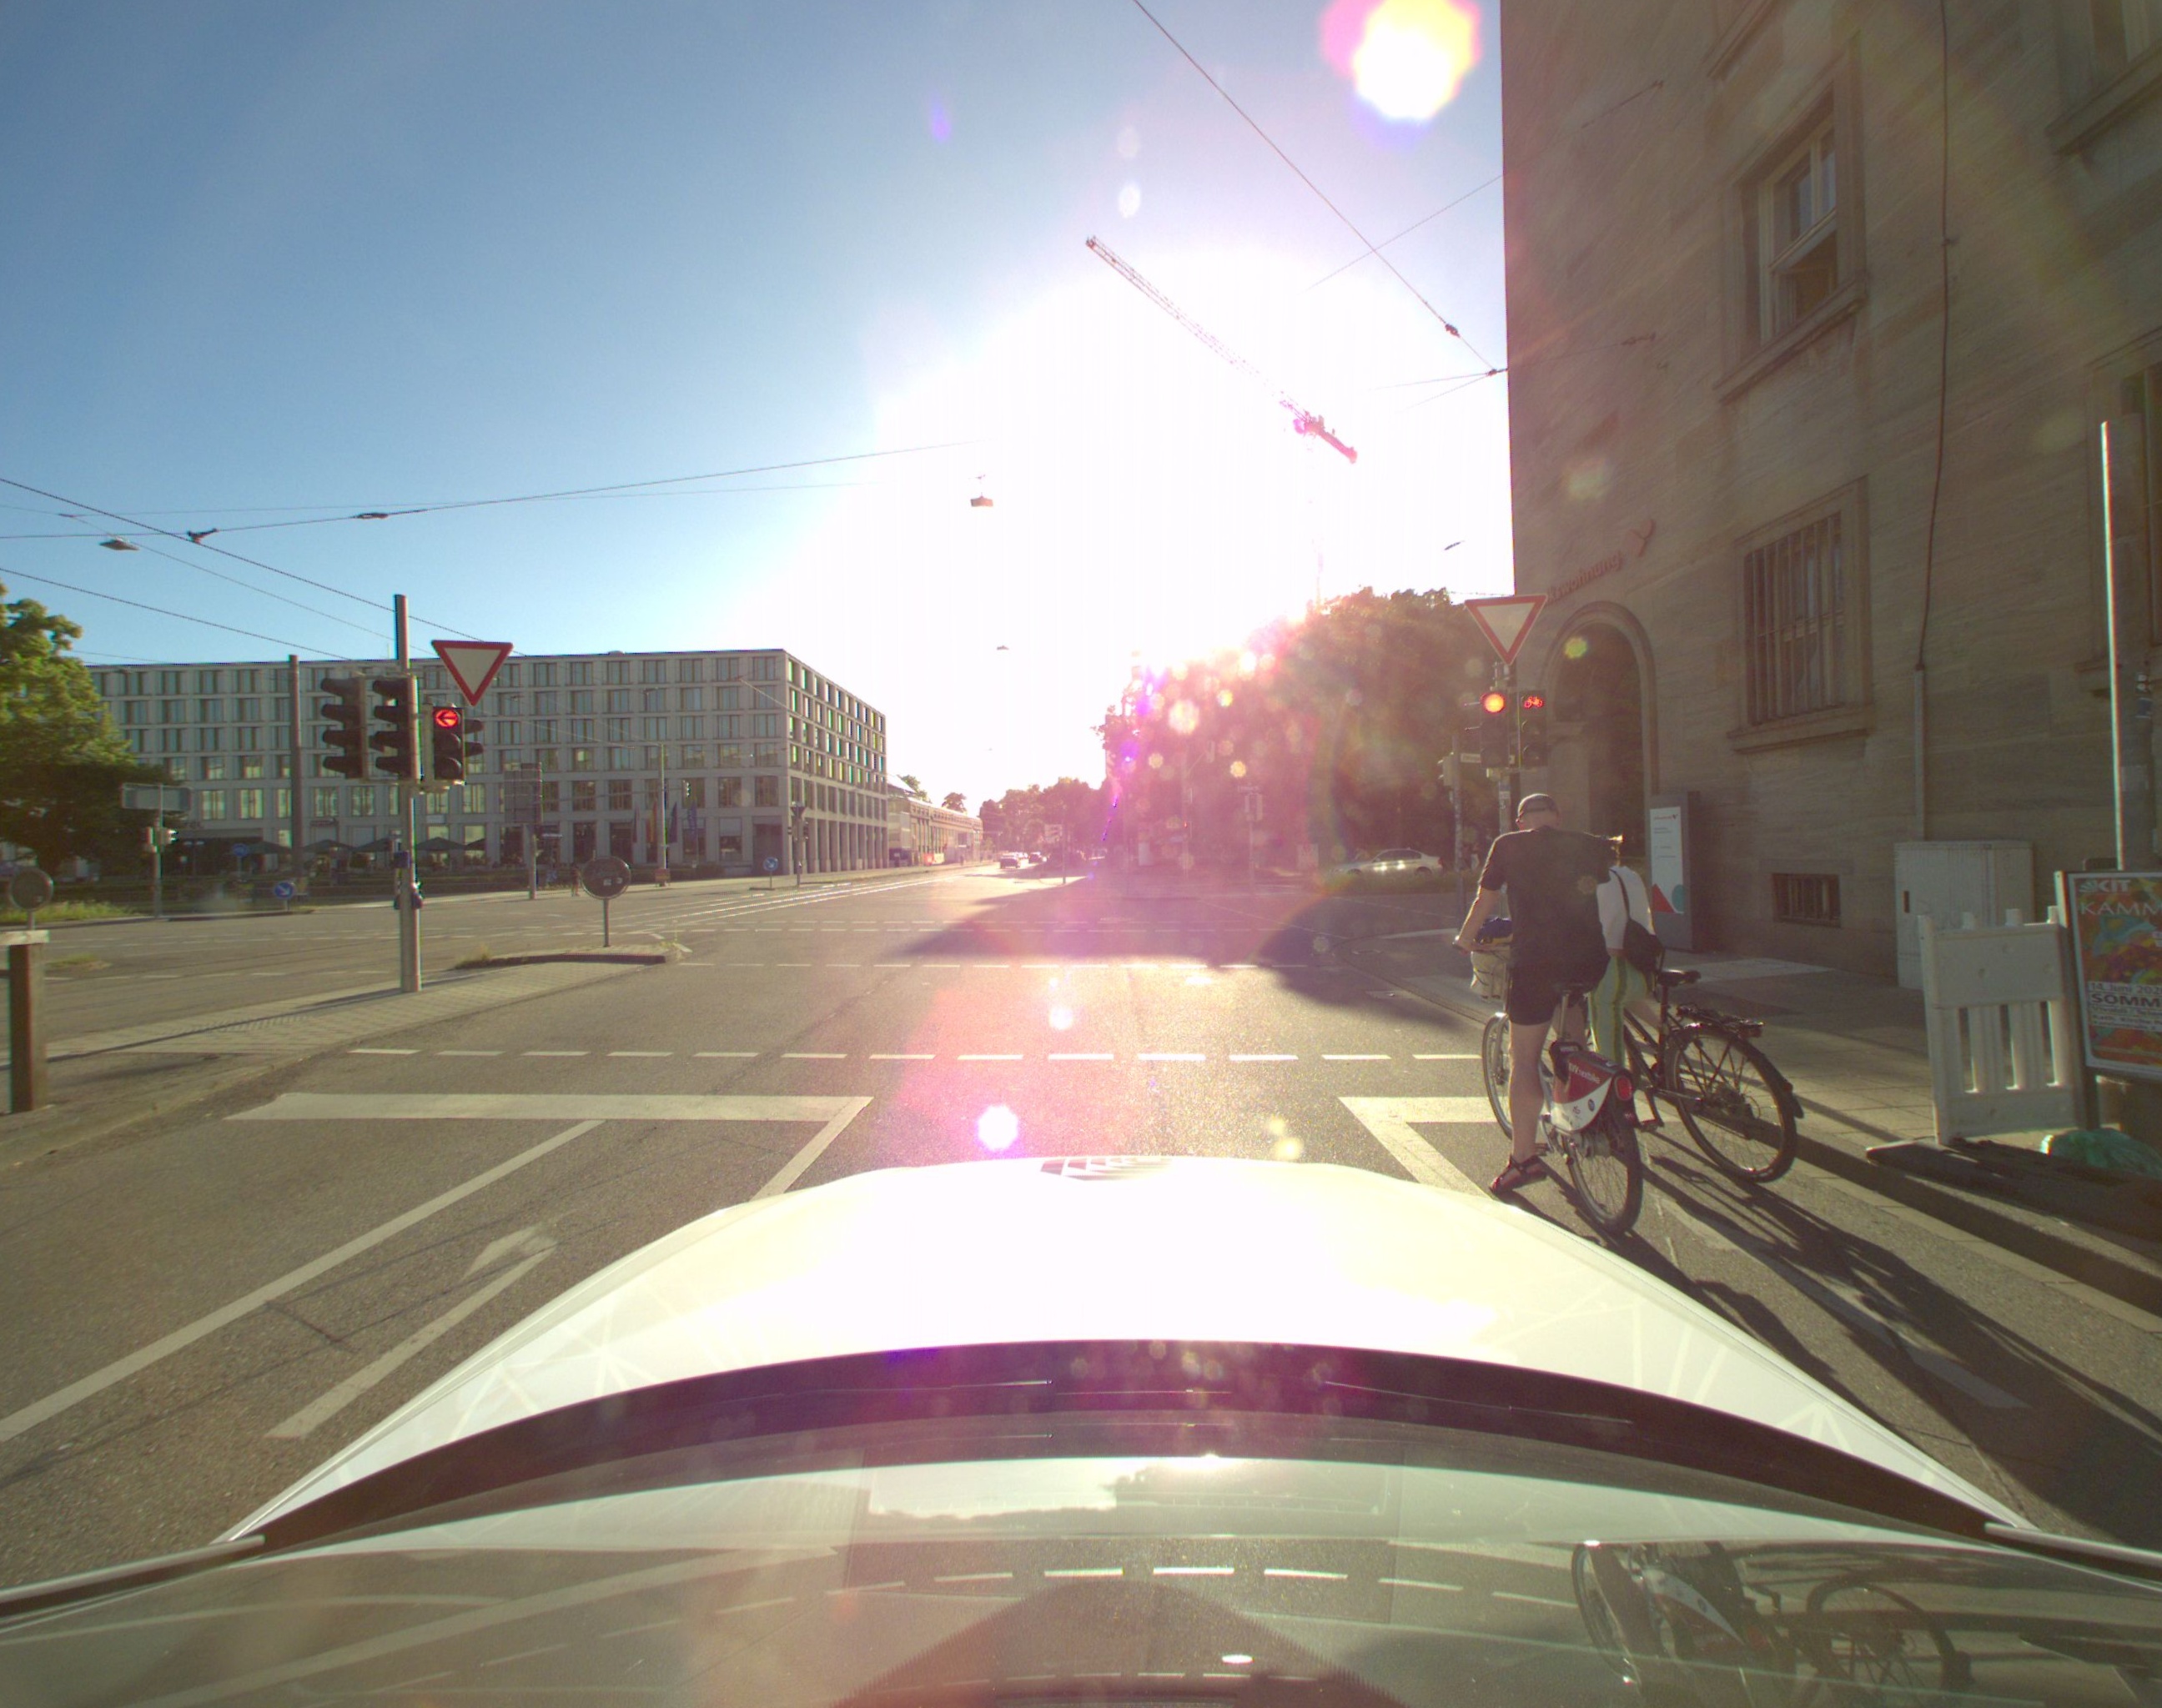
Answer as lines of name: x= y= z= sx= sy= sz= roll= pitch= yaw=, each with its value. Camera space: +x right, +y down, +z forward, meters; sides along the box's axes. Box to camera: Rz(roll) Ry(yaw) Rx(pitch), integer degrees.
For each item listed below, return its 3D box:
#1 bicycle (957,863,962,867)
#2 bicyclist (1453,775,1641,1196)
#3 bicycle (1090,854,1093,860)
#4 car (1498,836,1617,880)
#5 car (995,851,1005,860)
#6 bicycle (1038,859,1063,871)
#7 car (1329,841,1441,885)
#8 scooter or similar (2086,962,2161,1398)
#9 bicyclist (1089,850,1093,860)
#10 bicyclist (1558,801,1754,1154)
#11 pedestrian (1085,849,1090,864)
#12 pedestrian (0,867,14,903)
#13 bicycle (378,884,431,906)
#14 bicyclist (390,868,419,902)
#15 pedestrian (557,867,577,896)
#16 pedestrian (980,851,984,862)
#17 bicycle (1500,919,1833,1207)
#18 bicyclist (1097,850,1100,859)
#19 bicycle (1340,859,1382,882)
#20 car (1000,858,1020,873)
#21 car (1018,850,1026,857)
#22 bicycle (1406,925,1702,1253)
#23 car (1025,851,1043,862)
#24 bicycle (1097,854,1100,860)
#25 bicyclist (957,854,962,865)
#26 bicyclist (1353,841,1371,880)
bicycle: x=-15.596 y=1.361 z=104.703 sx=0.499 sy=0.515 sz=1.258 roll=0 pitch=-1 yaw=1
bicyclist: x=2.126 y=0.564 z=3.774 sx=0.556 sy=1.799 sz=0.551 roll=-1 pitch=0 yaw=3
bicycle: x=1.816 y=0.578 z=143.603 sx=0.573 sy=1.077 sz=1.831 roll=-2 pitch=0 yaw=1
car: x=19.221 y=0.162 z=32.971 sx=3.835 sy=1.611 sz=1.650 roll=-2 pitch=0 yaw=1
car: x=-15.650 y=0.269 z=157.069 sx=1.688 sy=1.718 sz=4.245 roll=0 pitch=-1 yaw=-1
bicycle: x=-2.562 y=0.910 z=67.699 sx=1.996 sy=0.891 sz=0.655 roll=-4 pitch=-1 yaw=29
car: x=12.353 y=0.356 z=33.249 sx=3.979 sy=1.611 sz=1.650 roll=-2 pitch=0 yaw=1
scooter or similar: x=3.241 y=0.910 z=1.738 sx=0.533 sy=1.185 sz=1.328 roll=-2 pitch=0 yaw=1
bicyclist: x=1.797 y=0.131 z=143.635 sx=0.567 sy=1.691 sz=0.700 roll=-2 pitch=0 yaw=1
bicyclist: x=2.957 y=0.594 z=4.241 sx=0.556 sy=1.691 sz=0.640 roll=-1 pitch=0 yaw=0
pedestrian: x=0.754 y=0.339 z=97.894 sx=0.462 sy=1.813 sz=0.502 roll=-2 pitch=0 yaw=-3
pedestrian: x=-61.378 y=1.768 z=46.125 sx=0.837 sy=2.014 sz=0.827 roll=-1 pitch=-1 yaw=11
bicycle: x=-32.752 y=1.993 z=39.465 sx=0.755 sy=0.935 sz=1.870 roll=-2 pitch=0 yaw=12
bicyclist: x=-32.777 y=1.503 z=39.457 sx=0.753 sy=1.589 sz=0.781 roll=-1 pitch=-1 yaw=17
pedestrian: x=-28.684 y=1.534 z=45.496 sx=0.777 sy=1.589 sz=0.588 roll=-2 pitch=0 yaw=-17
pedestrian: x=-18.647 y=0.461 z=153.448 sx=0.672 sy=2.014 sz=0.751 roll=0 pitch=-1 yaw=-1
bicycle: x=2.946 y=0.961 z=4.348 sx=0.532 sy=1.077 sz=1.751 roll=-1 pitch=0 yaw=1
bicyclist: x=3.053 y=0.110 z=143.612 sx=0.567 sy=1.691 sz=0.700 roll=-2 pitch=0 yaw=1
bicycle: x=12.290 y=0.727 z=35.823 sx=1.657 sy=0.963 sz=0.535 roll=-2 pitch=0 yaw=7
car: x=-7.225 y=1.189 z=83.250 sx=1.654 sy=1.455 sz=4.432 roll=-1 pitch=0 yaw=0
car: x=-14.217 y=-0.112 z=195.319 sx=1.688 sy=1.718 sz=4.245 roll=0 pitch=-1 yaw=-1
bicycle: x=2.124 y=0.960 z=3.931 sx=0.513 sy=1.077 sz=1.729 roll=-1 pitch=0 yaw=4
car: x=-6.724 y=0.367 z=116.660 sx=1.884 sy=1.565 sz=4.812 roll=1 pitch=0 yaw=3
bicycle: x=3.080 y=0.570 z=143.542 sx=0.573 sy=1.077 sz=1.831 roll=-2 pitch=0 yaw=1
bicyclist: x=-15.595 y=0.739 z=104.733 sx=0.594 sy=1.377 sz=0.637 roll=0 pitch=-1 yaw=0
bicyclist: x=12.353 y=0.299 z=35.810 sx=0.640 sy=1.683 sz=0.508 roll=-2 pitch=0 yaw=7
